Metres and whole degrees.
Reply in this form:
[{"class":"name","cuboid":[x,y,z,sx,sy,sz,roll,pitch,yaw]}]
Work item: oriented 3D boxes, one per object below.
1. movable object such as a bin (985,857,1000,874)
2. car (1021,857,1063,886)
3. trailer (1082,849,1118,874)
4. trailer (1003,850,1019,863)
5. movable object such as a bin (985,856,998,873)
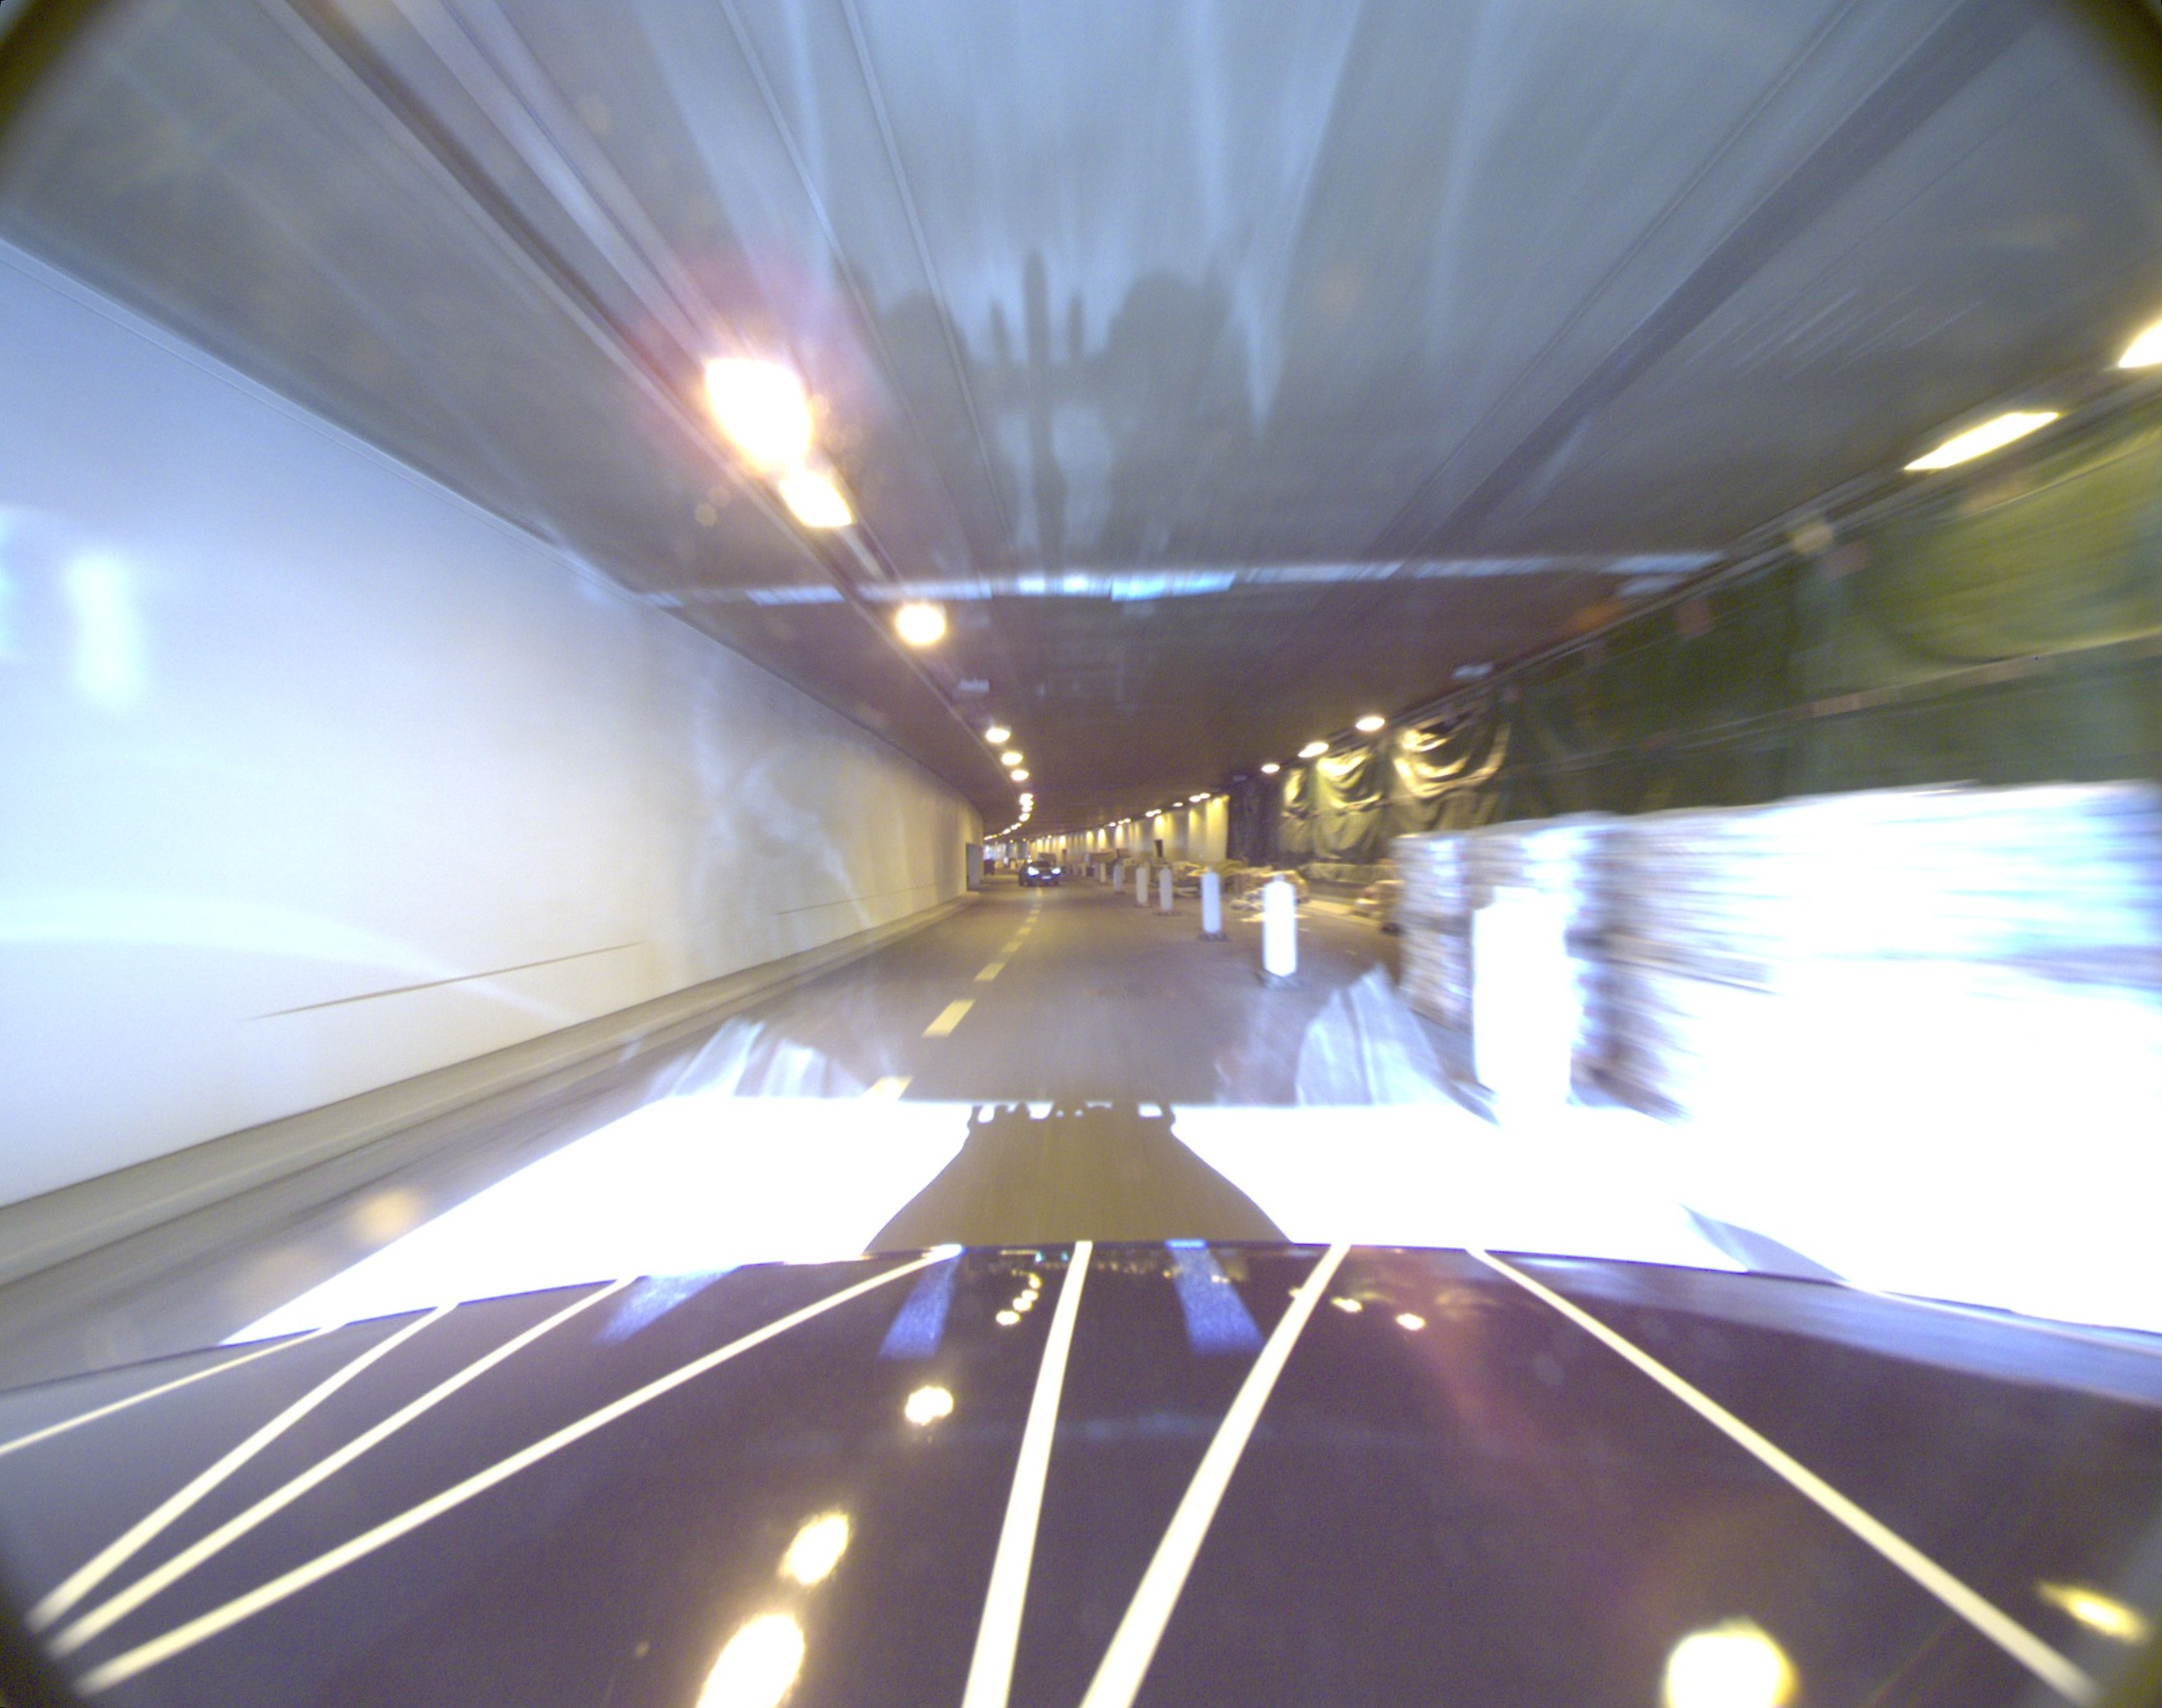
[{"class":"movable object such as a bin","cuboid":[-7.740,0.974,66.292,1.149,1.437,1.362,-2,1,-10]},{"class":"car","cuboid":[-2.348,0.974,44.671,1.898,1.537,4.236,-2,1,-11]},{"class":"trailer","cuboid":[1.567,0.579,63.716,2.216,2.002,3.462,-2,1,-11]},{"class":"trailer","cuboid":[-10.546,0.383,114.226,1.646,1.781,3.117,-2,1,-19]},{"class":"movable object such as a bin","cuboid":[-7.991,0.961,67.661,1.101,1.437,1.320,-2,1,-10]}]
